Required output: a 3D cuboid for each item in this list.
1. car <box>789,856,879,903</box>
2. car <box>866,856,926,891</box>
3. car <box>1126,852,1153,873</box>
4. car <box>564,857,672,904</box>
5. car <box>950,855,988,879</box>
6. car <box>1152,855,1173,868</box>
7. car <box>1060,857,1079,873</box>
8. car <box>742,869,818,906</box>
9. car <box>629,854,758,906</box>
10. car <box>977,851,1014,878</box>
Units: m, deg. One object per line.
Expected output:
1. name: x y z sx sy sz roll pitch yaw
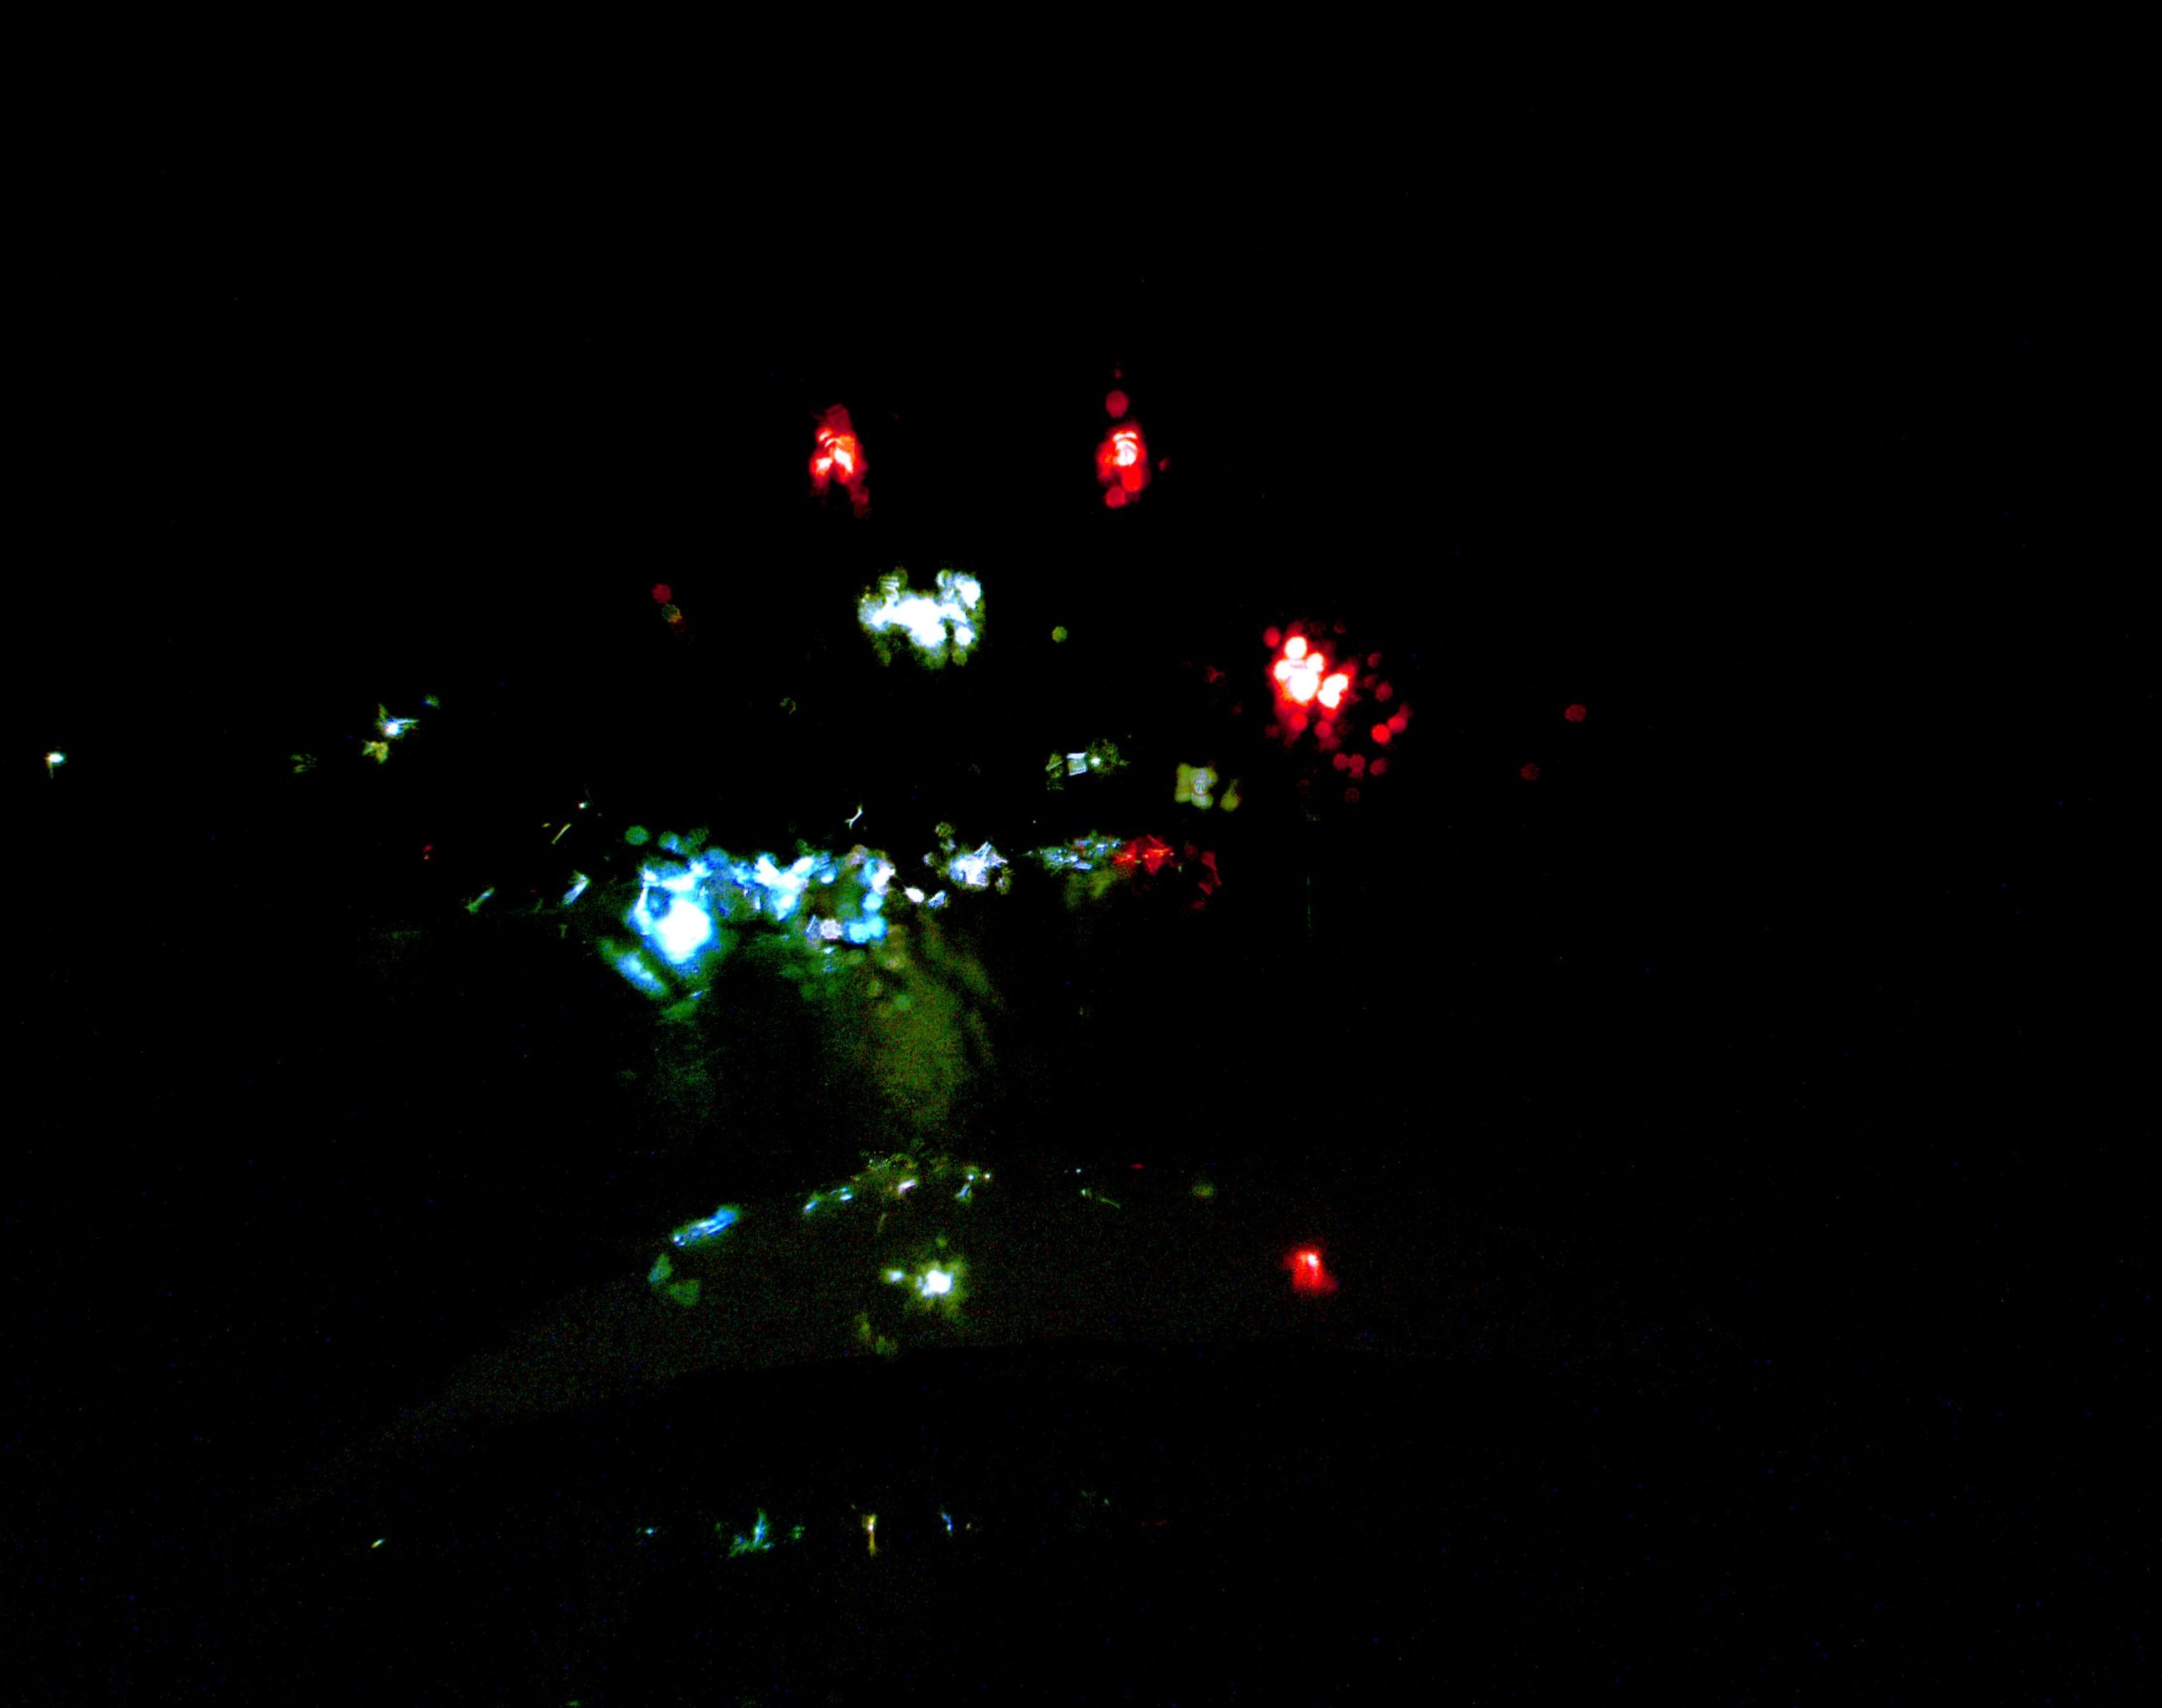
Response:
1. car: -9.139 0.896 30.525 1.692 1.571 4.715 -1 0 3
2. car: -8.494 0.882 37.584 1.577 1.526 3.657 -1 -1 6
3. car: 4.563 0.687 63.945 1.986 1.611 4.104 -1 -1 2
4. car: -20.452 1.123 36.023 4.017 1.831 1.703 -2 0 -35
5. car: -8.374 0.951 61.123 1.984 1.720 4.005 -1 -1 5
6. car: 9.160 0.831 92.004 2.095 1.439 4.002 -1 -1 2
7. car: -1.095 1.073 79.270 1.701 1.534 4.601 -1 -1 2
8. car: -12.494 1.355 34.032 1.661 1.454 3.730 -1 -1 3
9. car: -12.819 0.804 27.346 1.785 1.571 4.916 -1 0 2
10. car: -5.798 0.721 55.757 1.709 1.703 4.149 -1 -1 5
